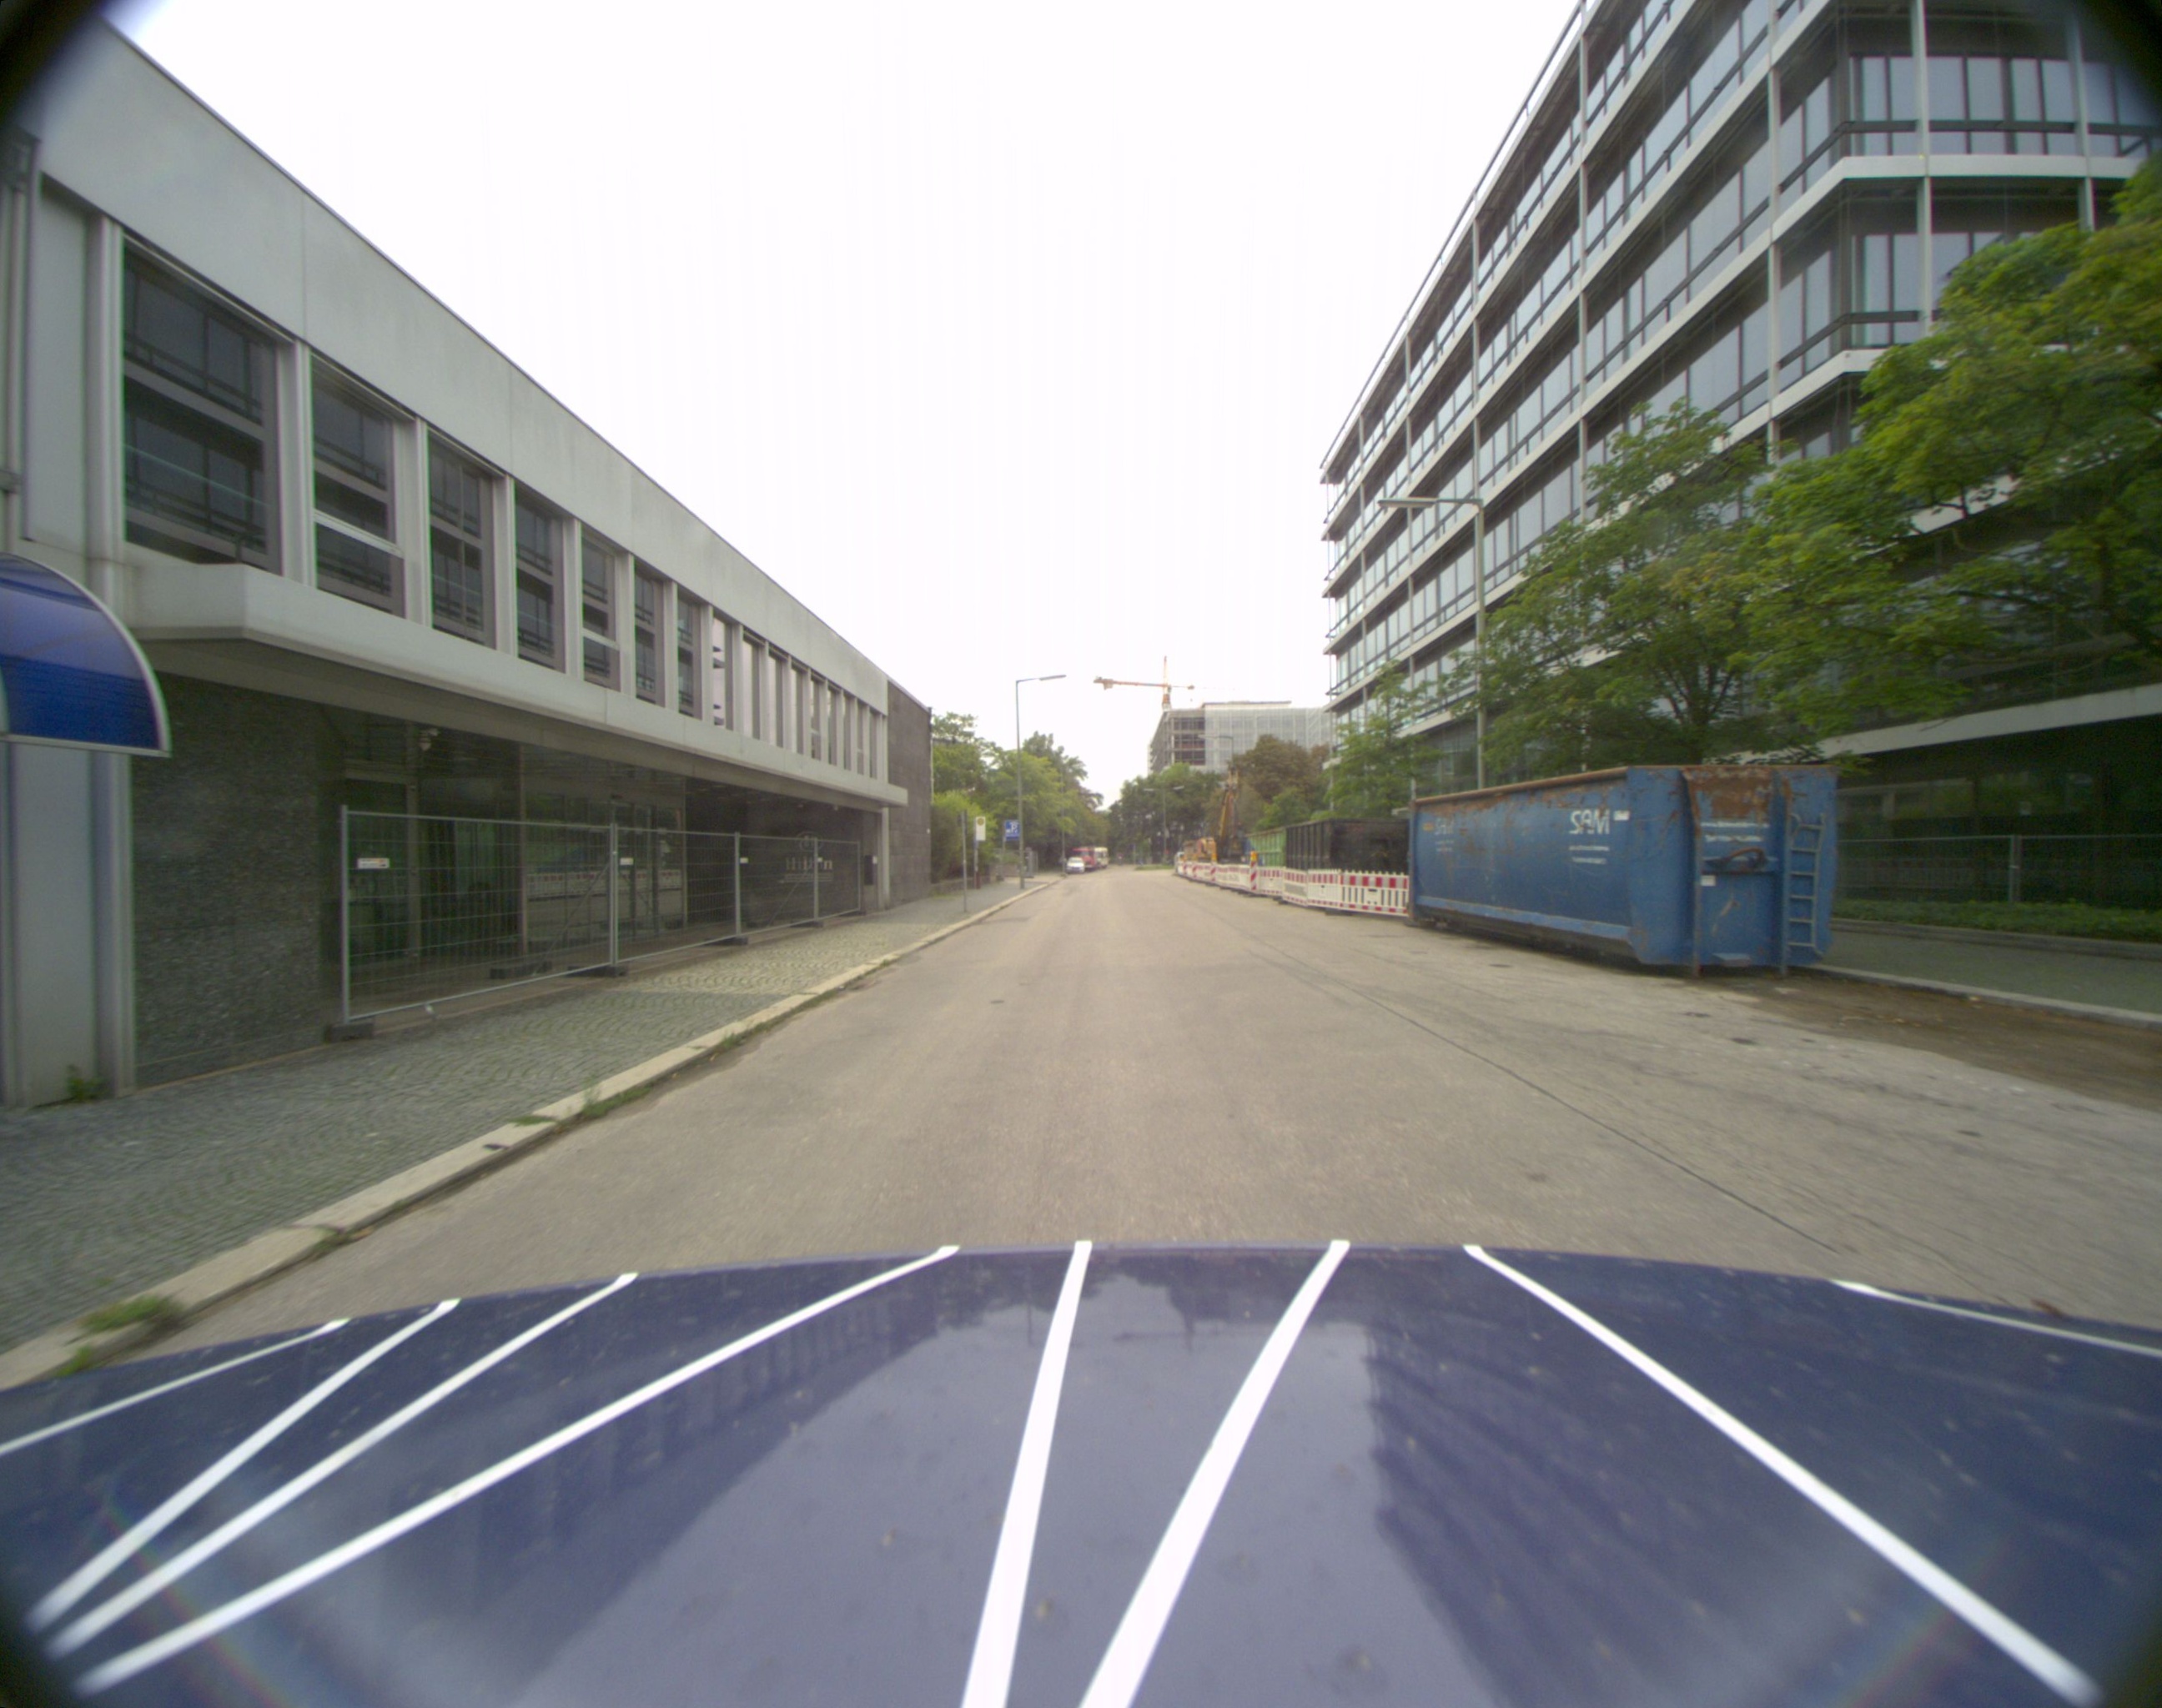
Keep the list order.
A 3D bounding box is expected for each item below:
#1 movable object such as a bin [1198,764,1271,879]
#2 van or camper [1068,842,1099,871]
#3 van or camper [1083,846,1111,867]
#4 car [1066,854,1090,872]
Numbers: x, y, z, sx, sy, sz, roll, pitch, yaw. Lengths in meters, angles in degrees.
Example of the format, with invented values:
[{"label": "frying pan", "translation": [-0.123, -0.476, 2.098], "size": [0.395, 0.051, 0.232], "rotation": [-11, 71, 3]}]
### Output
[{"label": "movable object such as a bin", "translation": [9.089, -1.783, 45.953], "size": [3.241, 6.285, 8.338], "rotation": [-1, 0, 4]}, {"label": "van or camper", "translation": [0.334, 0.237, 78.522], "size": [2.666, 2.751, 6.917], "rotation": [-1, 0, 5]}, {"label": "van or camper", "translation": [2.020, 0.292, 92.781], "size": [2.665, 2.436, 6.449], "rotation": [-1, 0, 8]}, {"label": "car", "translation": [-0.259, 0.830, 72.265], "size": [1.912, 1.627, 4.001], "rotation": [-1, 0, 4]}]
